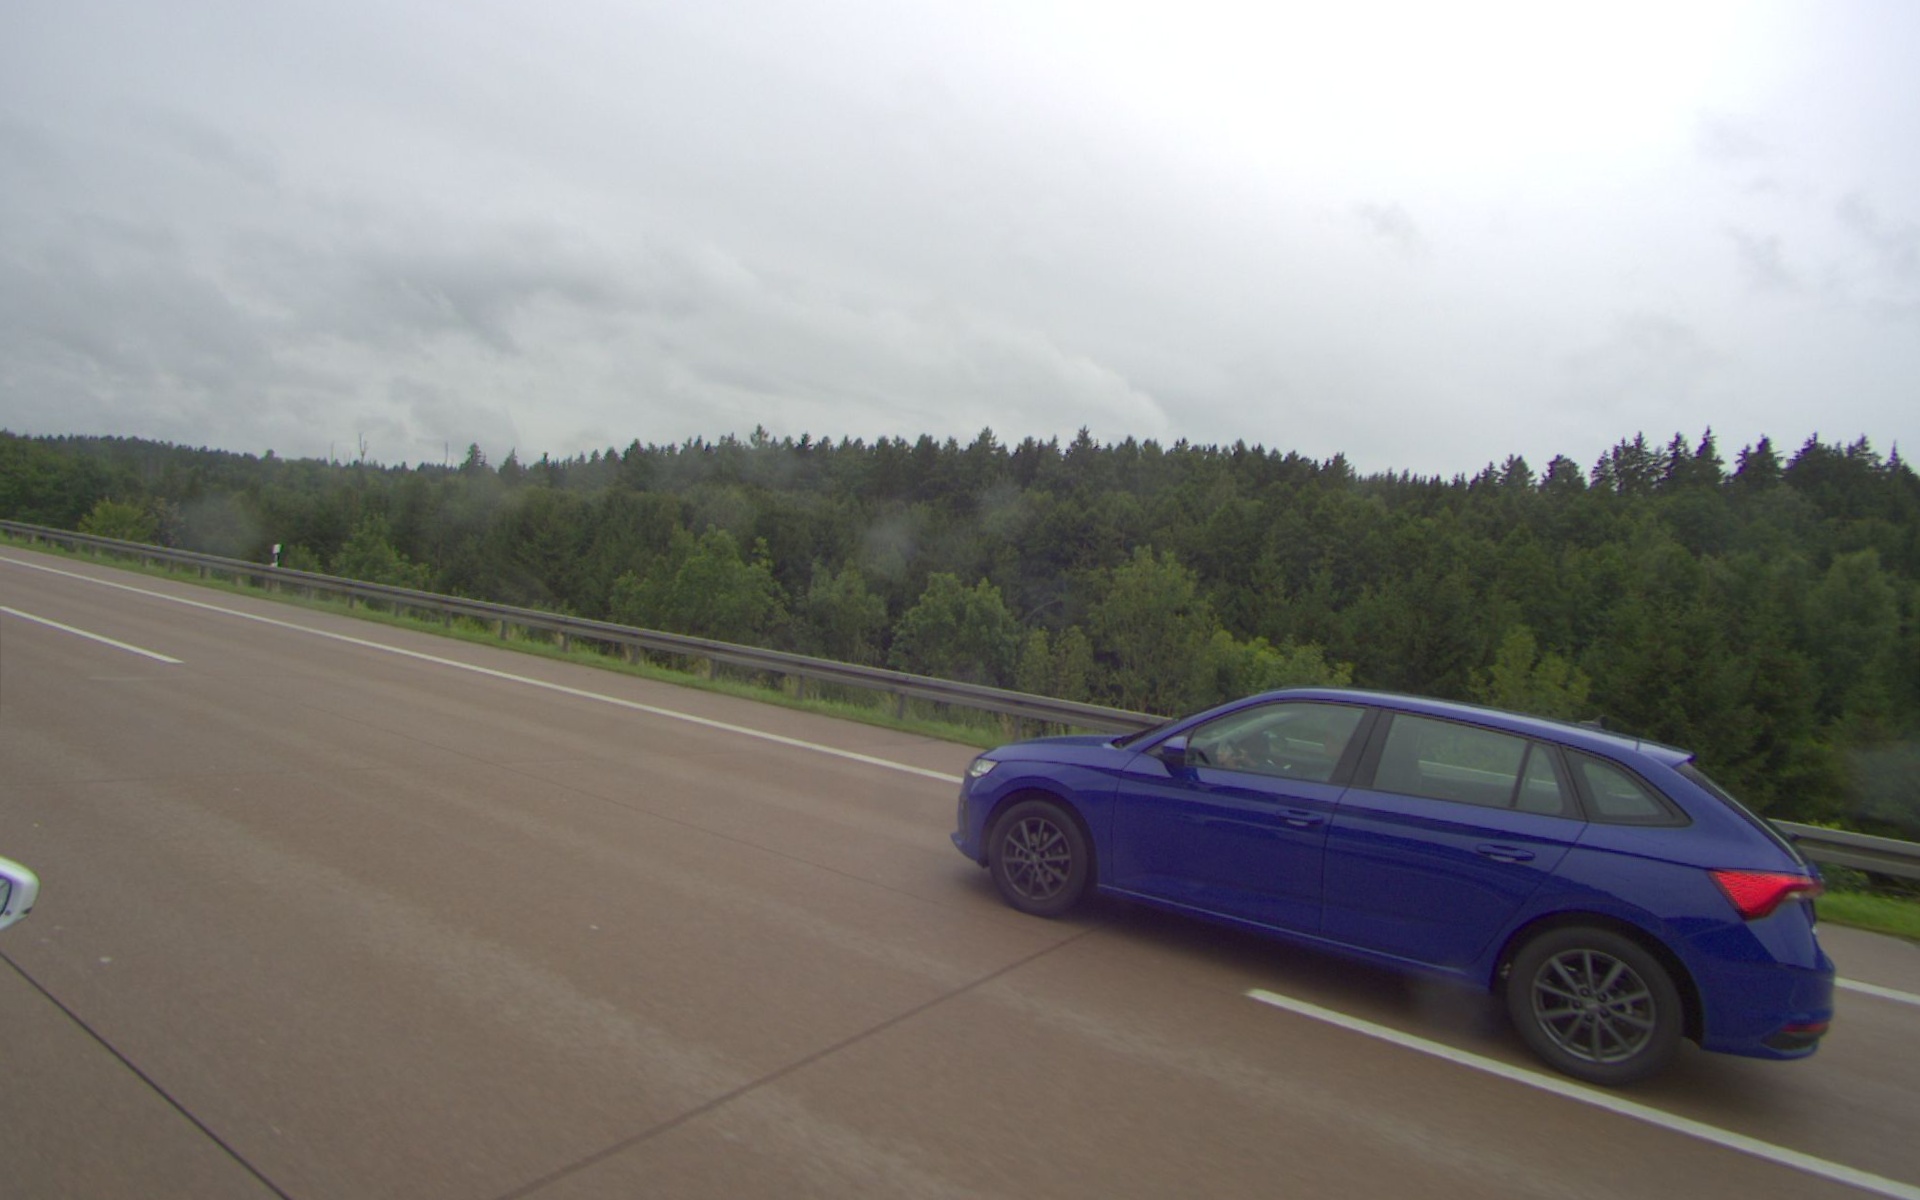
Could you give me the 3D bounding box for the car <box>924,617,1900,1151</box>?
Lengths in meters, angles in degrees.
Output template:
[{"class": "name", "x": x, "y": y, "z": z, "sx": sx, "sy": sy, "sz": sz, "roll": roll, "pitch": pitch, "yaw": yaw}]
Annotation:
[{"class": "car", "x": 2.060, "y": 1.138, "z": 5.484, "sx": 4.078, "sy": 1.582, "sz": 1.775, "roll": 5, "pitch": -3, "yaw": 31}]
